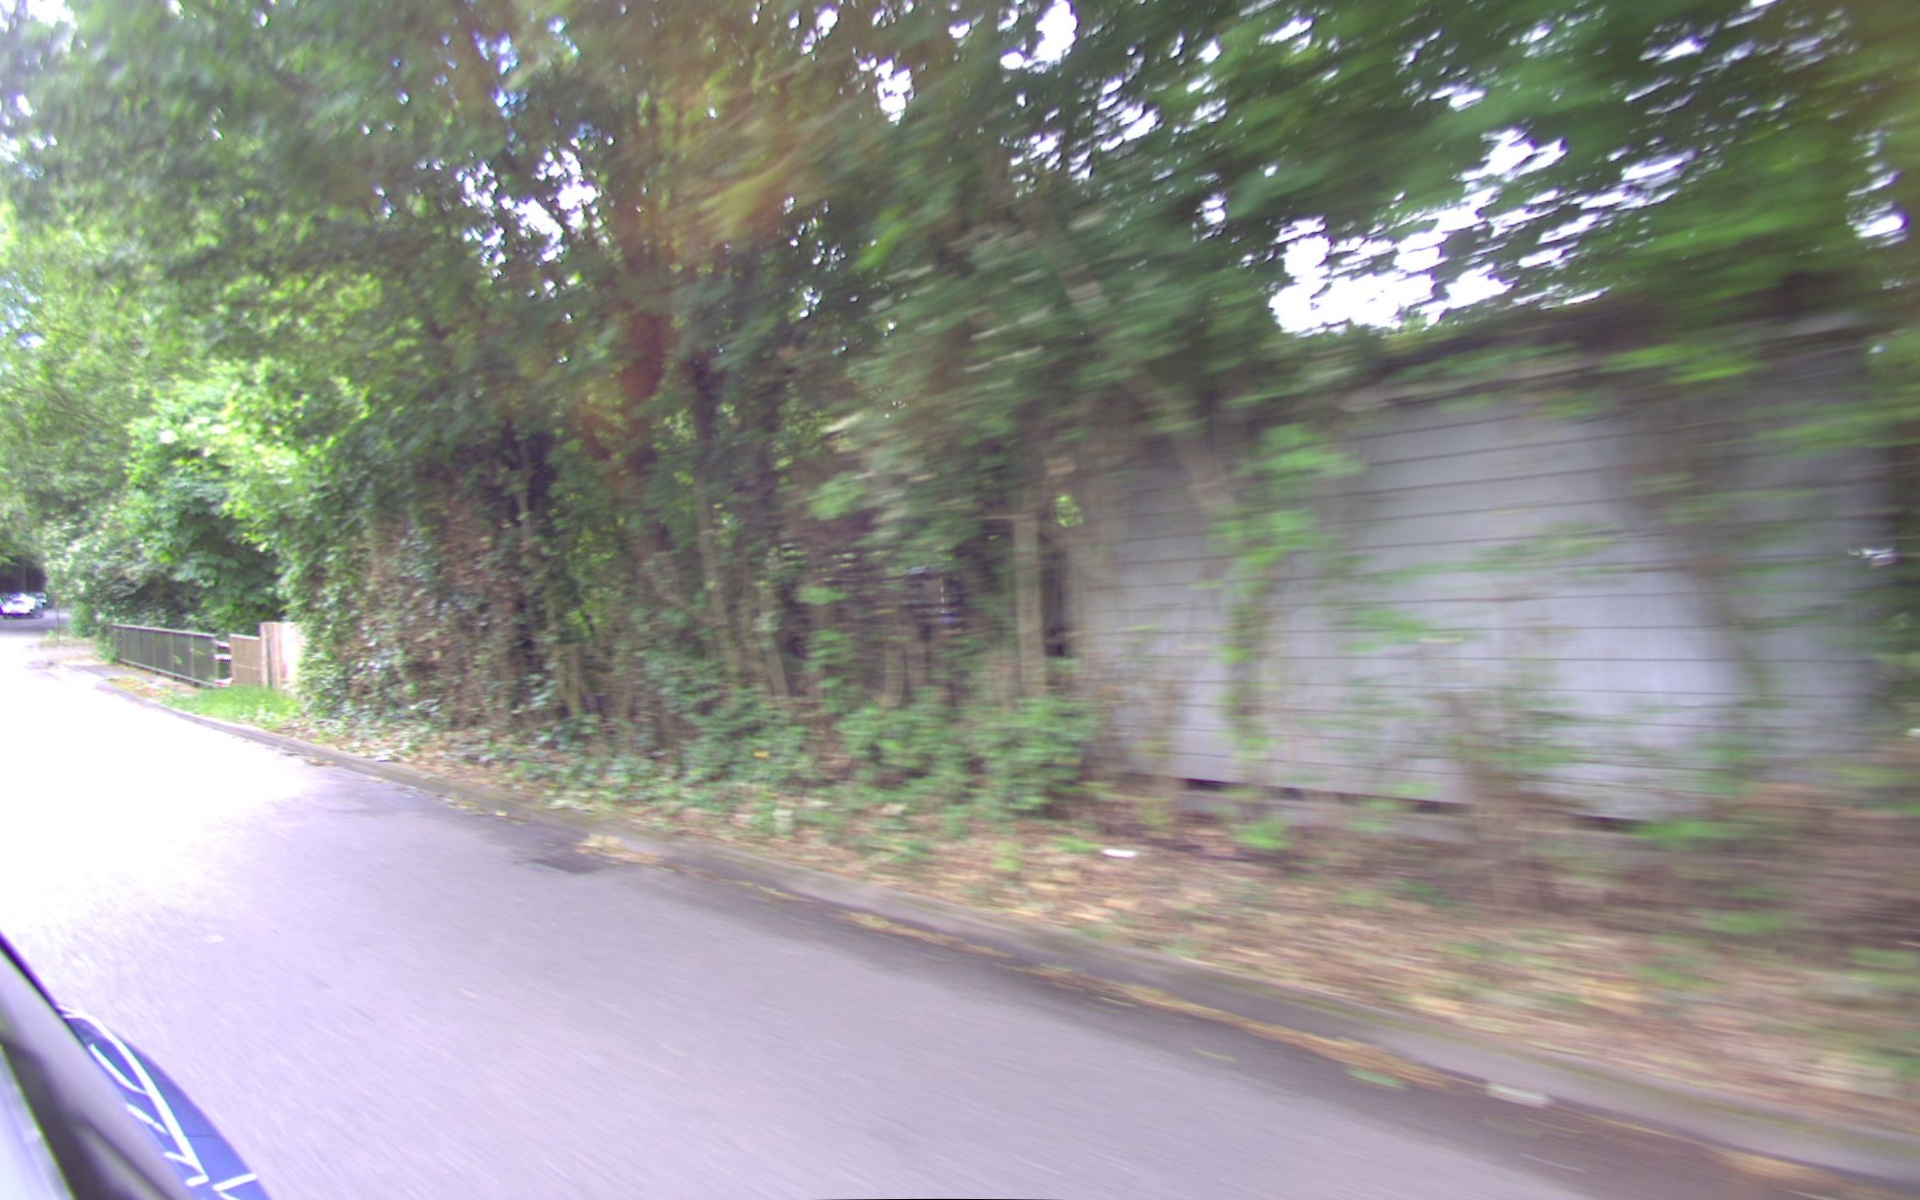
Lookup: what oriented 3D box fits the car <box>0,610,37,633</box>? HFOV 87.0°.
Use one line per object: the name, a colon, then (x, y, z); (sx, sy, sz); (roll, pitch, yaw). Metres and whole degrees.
car: (-67.761, 1.510, 72.568); (1.968, 1.541, 4.009); (-1, 0, -37)
